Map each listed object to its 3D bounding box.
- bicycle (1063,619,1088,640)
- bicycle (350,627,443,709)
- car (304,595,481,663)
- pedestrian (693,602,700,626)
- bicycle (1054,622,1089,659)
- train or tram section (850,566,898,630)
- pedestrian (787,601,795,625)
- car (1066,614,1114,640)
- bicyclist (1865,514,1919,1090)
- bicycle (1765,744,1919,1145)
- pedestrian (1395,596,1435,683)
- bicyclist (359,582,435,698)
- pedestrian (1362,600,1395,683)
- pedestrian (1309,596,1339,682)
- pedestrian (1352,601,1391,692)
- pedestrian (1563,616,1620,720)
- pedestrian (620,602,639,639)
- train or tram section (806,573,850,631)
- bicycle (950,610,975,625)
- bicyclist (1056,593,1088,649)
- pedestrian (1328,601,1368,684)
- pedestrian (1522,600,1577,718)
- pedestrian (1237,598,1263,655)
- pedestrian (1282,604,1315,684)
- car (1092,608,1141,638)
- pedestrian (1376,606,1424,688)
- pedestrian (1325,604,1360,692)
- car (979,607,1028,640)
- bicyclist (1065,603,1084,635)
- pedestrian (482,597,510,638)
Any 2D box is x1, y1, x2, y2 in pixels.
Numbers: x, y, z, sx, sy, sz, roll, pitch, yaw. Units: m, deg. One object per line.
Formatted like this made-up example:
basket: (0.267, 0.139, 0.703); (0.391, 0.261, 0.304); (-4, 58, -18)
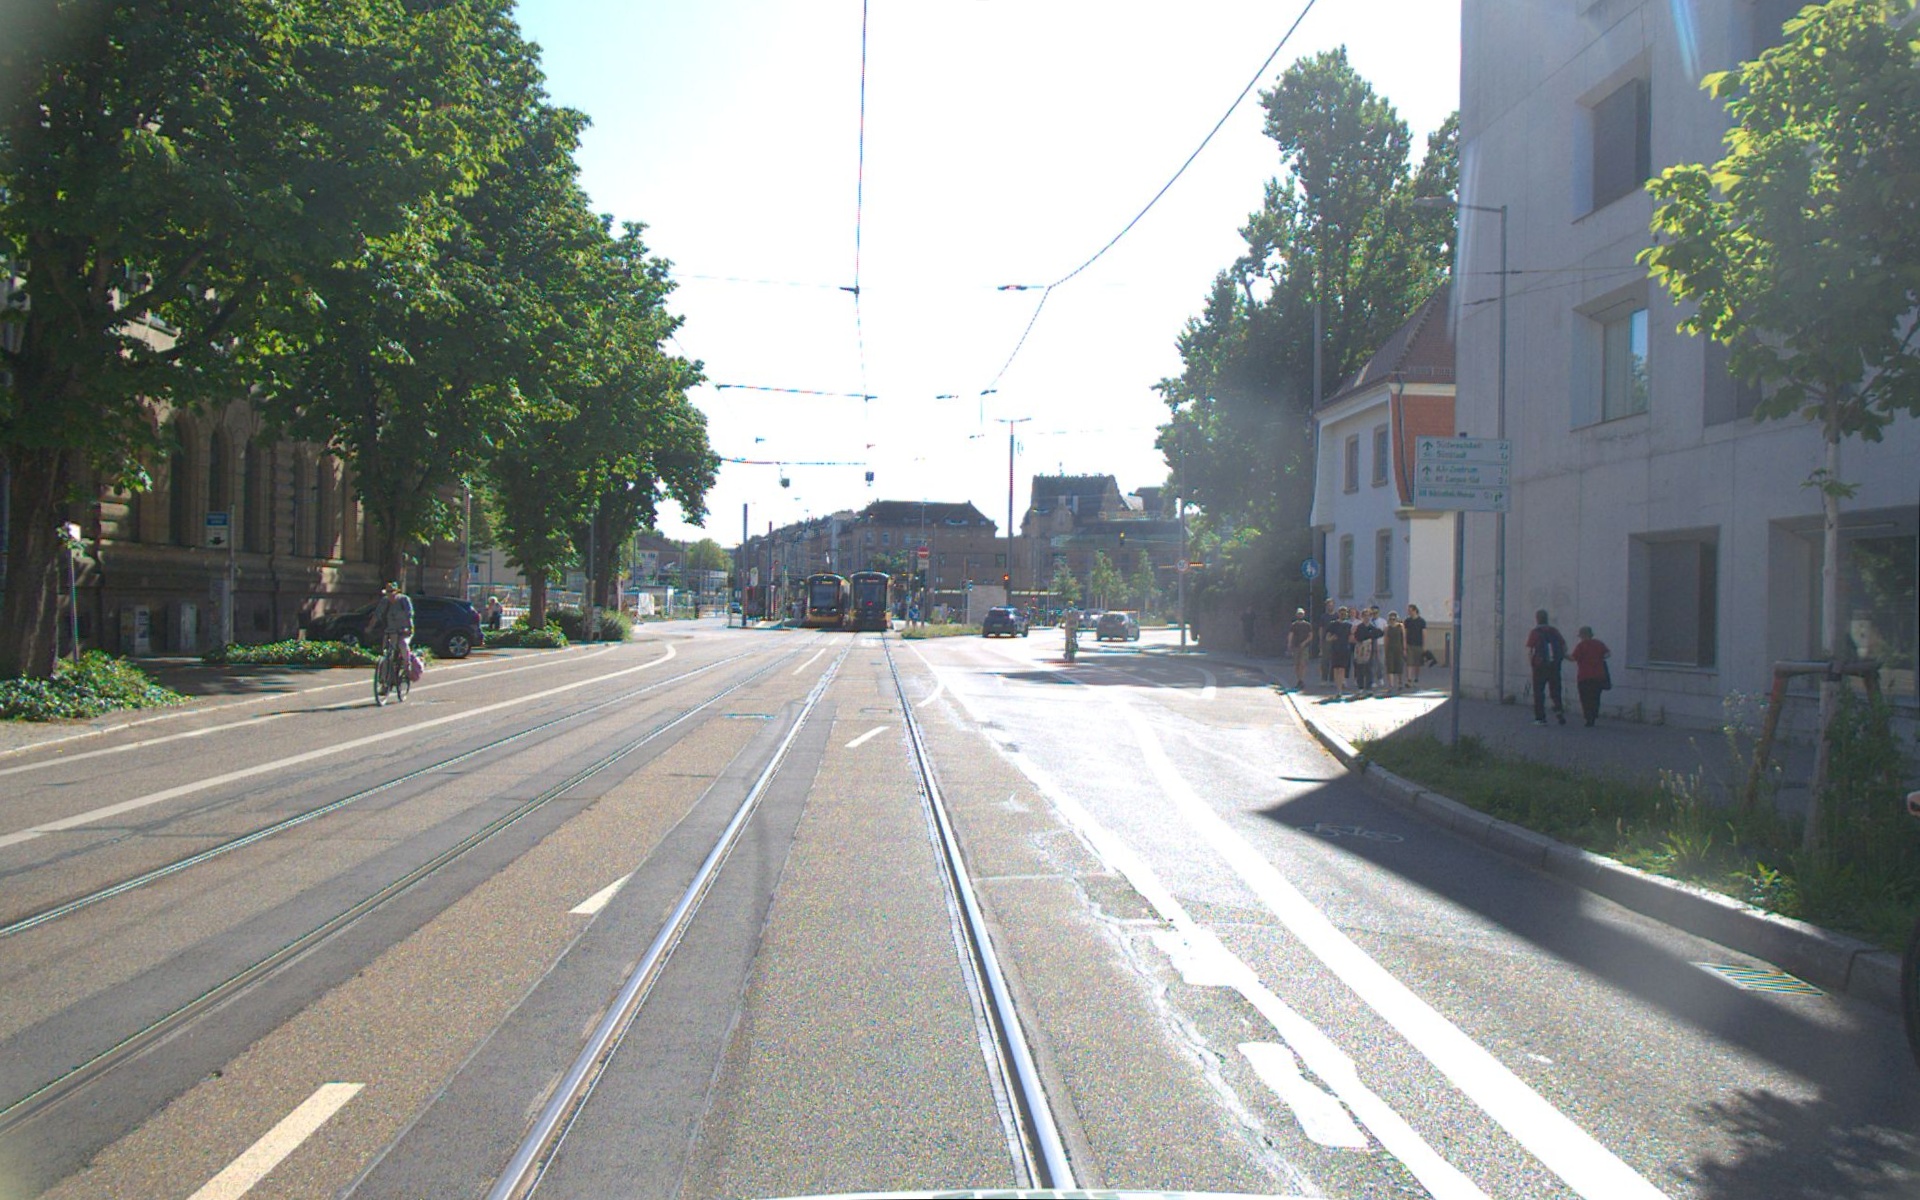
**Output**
bicycle: (6.394, 1.612, 91.377); (0.690, 1.073, 2.313); (3, 1, 21)
bicycle: (-8.318, 0.987, 24.510); (0.672, 1.144, 1.931); (-1, -1, 1)
car: (-14.380, 0.731, 41.948); (3.946, 1.577, 1.858); (2, -1, -31)
pedestrian: (-23.375, 1.247, 146.891); (0.514, 2.049, 0.522); (1, -1, 1)
bicycle: (3.469, 1.253, 51.523); (0.690, 1.124, 1.718); (3, 0, 16)
train or tram section: (-5.453, -0.112, 103.458); (2.688, 3.715, 13.775); (1, 0, -4)
pedestrian: (-12.830, 0.982, 125.613); (0.614, 1.859, 0.662); (1, -1, -4)
car: (8.744, 1.816, 110.908); (1.671, 1.672, 3.703); (2, 0, 32)
bicyclist: (3.241, 0.609, 4.721); (0.723, 1.715, 0.971); (2, -1, -1)
bicycle: (3.226, 1.070, 4.767); (0.723, 1.113, 2.110); (2, -1, -1)
pedestrian: (9.860, 0.852, 35.852); (0.643, 1.834, 0.732); (-2, -1, 5)
bicyclist: (-8.324, 0.583, 24.496); (0.672, 1.673, 1.237); (-1, -1, 1)
pedestrian: (9.308, 0.921, 36.824); (0.597, 1.805, 0.653); (-3, -1, 13)
pedestrian: (8.288, 0.881, 37.653); (0.507, 1.935, 0.612); (-2, -1, 5)
pedestrian: (8.436, 0.941, 33.924); (0.633, 1.793, 0.957); (-3, -1, 12)
pedestrian: (8.876, 0.946, 23.252); (0.507, 1.429, 0.764); (1, -1, 0)
pedestrian: (-15.291, 0.951, 76.468); (0.629, 1.727, 0.811); (0, -1, -29)
train or tram section: (-9.040, 0.144, 114.316); (2.688, 3.715, 13.775); (1, 0, -4)
bicycle: (0.217, 1.370, 131.247); (1.896, 1.122, 0.598); (1, 0, -6)
bicyclist: (3.495, 0.660, 51.524); (0.690, 1.704, 1.102); (2, 0, 16)
pedestrian: (8.717, 0.954, 37.156); (0.519, 1.805, 0.733); (-4, -1, 37)
pedestrian: (8.324, 0.824, 23.376); (0.507, 1.629, 0.764); (1, -1, 0)
pedestrian: (10.068, 0.916, 57.516); (0.625, 1.937, 1.134); (-1, 0, -2)
pedestrian: (7.717, 0.991, 37.707); (0.593, 1.777, 0.718); (-2, -1, 5)
car: (8.539, 1.234, 89.889); (1.752, 1.537, 3.713); (2, 0, 20)
pedestrian: (9.177, 0.977, 34.513); (0.811, 1.632, 0.894); (-3, -1, 12)
pedestrian: (7.812, 0.976, 33.804); (0.484, 1.758, 0.817); (-3, -1, 5)
car: (2.351, 1.259, 88.228); (1.751, 1.632, 3.715); (2, 0, 15)
bicyclist: (6.331, 1.028, 91.136); (0.690, 1.730, 0.987); (3, 0, 21)
pedestrian: (-17.918, 0.674, 63.883); (0.909, 1.531, 0.700); (1, -1, -26)
